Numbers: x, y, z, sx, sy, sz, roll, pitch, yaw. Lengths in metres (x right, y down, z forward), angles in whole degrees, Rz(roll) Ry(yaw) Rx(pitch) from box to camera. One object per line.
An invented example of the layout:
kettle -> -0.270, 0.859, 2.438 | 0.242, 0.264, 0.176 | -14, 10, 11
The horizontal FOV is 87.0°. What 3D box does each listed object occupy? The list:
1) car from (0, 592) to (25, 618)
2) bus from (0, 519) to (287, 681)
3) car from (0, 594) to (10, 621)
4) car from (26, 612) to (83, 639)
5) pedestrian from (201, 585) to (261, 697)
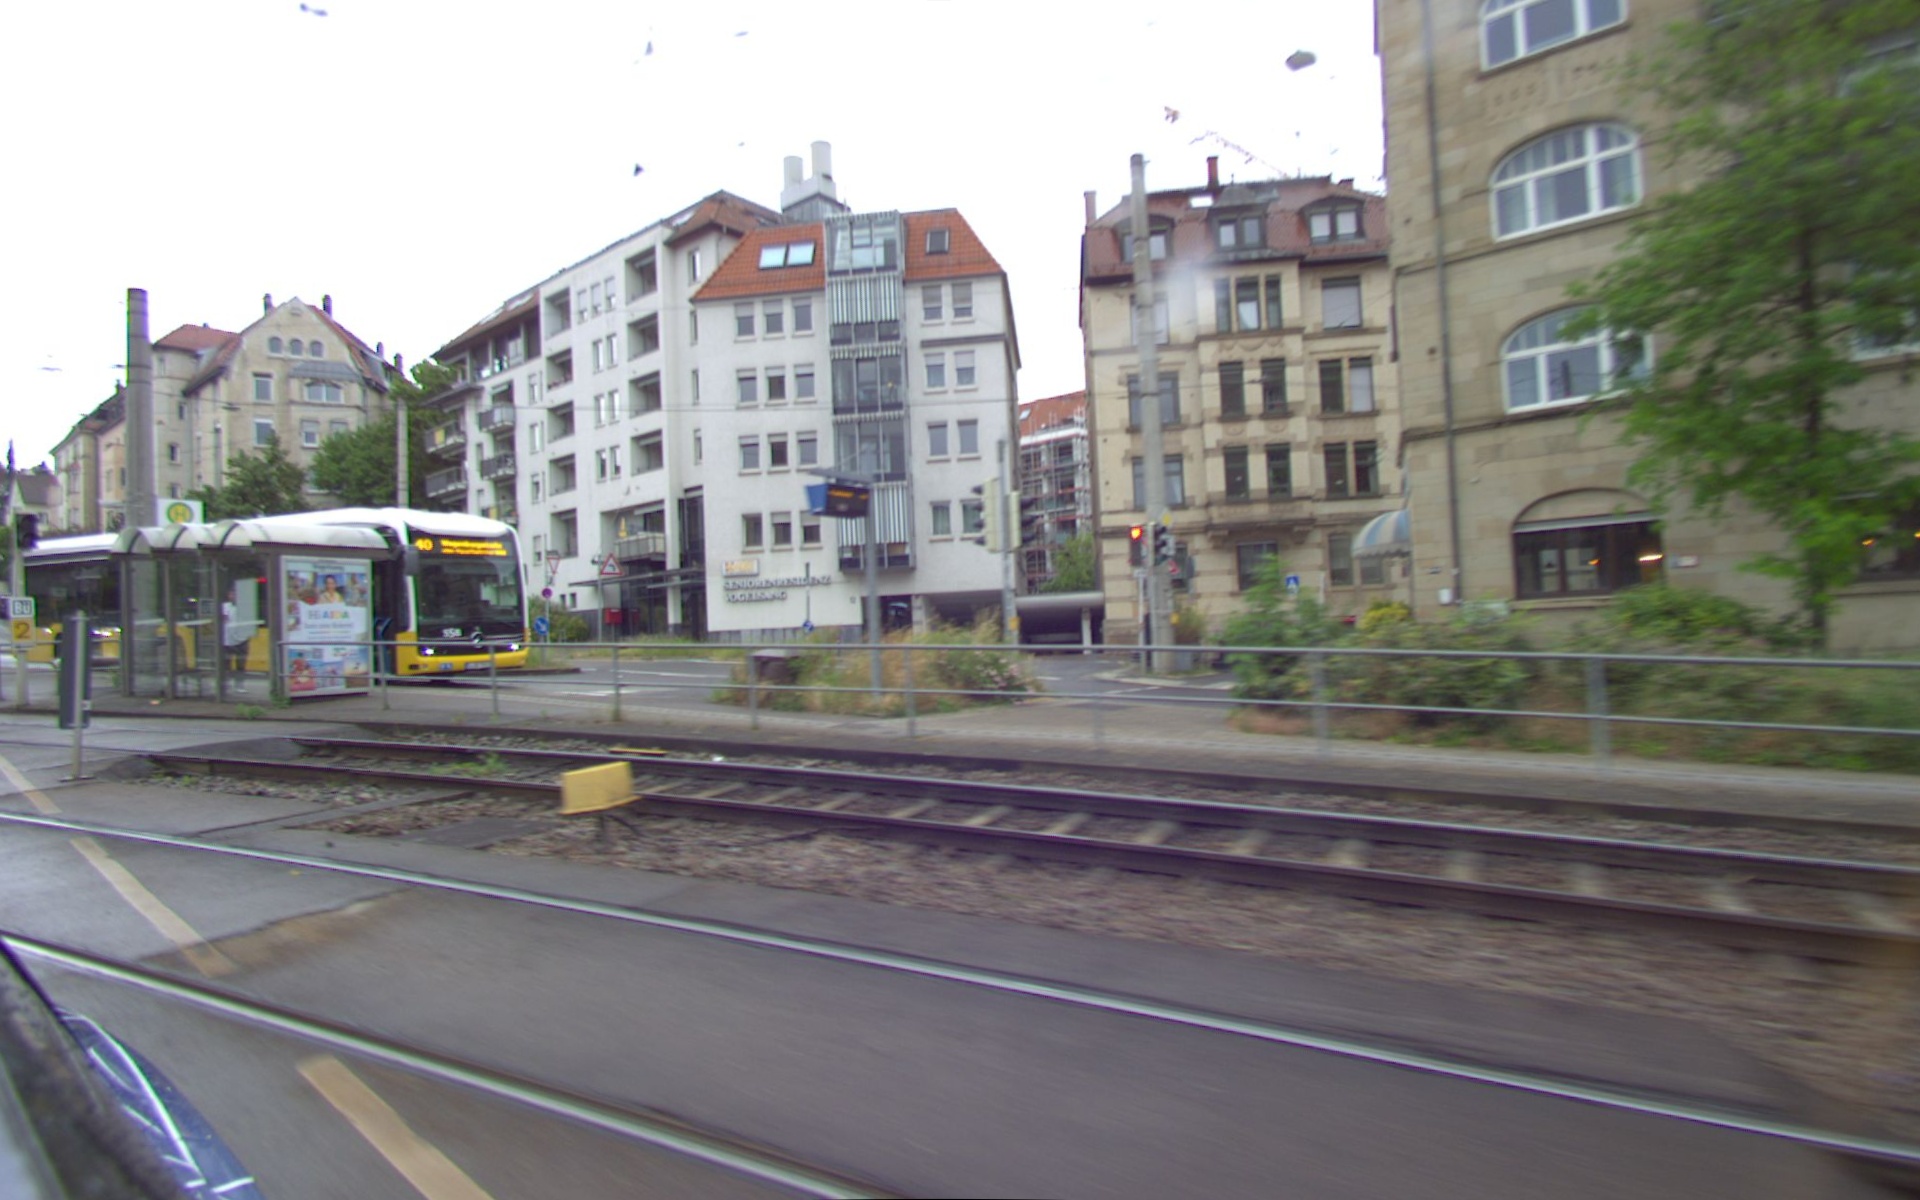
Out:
car -> -70.886, 0.384, 74.940 | 3.659, 1.849, 1.660 | 0, -2, 36
bus -> -20.642, 0.046, 25.366 | 9.073, 3.495, 2.572 | 0, -2, 31
car -> -74.114, 0.561, 77.064 | 3.995, 2.029, 1.974 | -1, -2, 39
car -> -58.176, 1.632, 65.003 | 4.351, 1.606, 1.974 | -1, -2, 39
pedestrian -> -11.828, 0.655, 16.433 | 0.541, 1.765, 0.572 | 0, -2, 27
